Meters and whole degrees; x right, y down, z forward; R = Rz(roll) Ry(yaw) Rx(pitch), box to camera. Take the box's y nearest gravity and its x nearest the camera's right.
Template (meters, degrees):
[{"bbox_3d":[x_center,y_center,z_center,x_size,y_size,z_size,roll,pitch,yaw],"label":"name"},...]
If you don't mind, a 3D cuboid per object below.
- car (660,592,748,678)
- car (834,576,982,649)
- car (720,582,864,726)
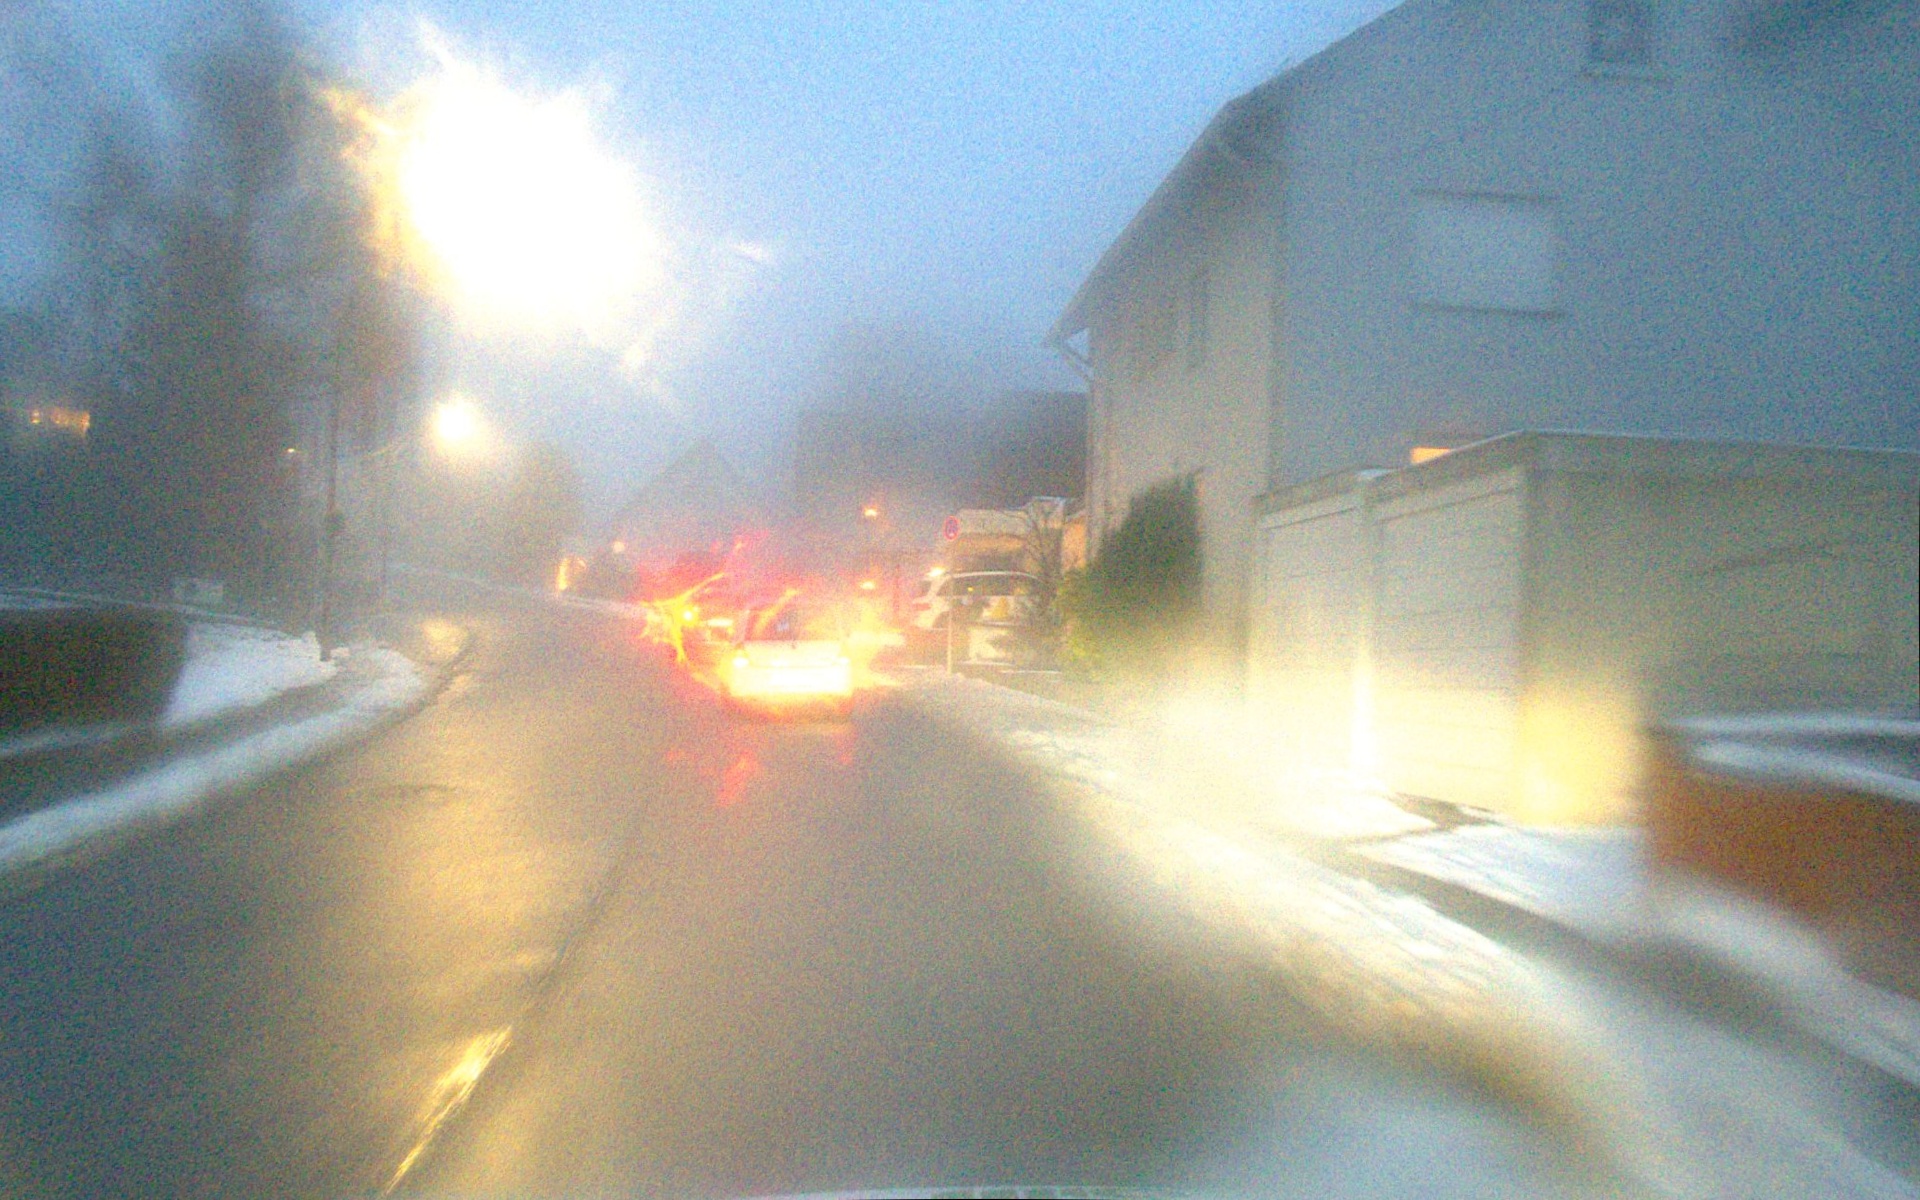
[{"bbox_3d":[-5.334,0.749,34.830,1.614,1.624,3.693,3,-2,-7],"label":"car"},{"bbox_3d":[-1.446,0.369,44.995,3.908,1.848,1.998,2,-2,-4],"label":"car"},{"bbox_3d":[-2.194,0.695,21.464,1.614,1.624,3.693,3,-2,-7],"label":"car"}]
